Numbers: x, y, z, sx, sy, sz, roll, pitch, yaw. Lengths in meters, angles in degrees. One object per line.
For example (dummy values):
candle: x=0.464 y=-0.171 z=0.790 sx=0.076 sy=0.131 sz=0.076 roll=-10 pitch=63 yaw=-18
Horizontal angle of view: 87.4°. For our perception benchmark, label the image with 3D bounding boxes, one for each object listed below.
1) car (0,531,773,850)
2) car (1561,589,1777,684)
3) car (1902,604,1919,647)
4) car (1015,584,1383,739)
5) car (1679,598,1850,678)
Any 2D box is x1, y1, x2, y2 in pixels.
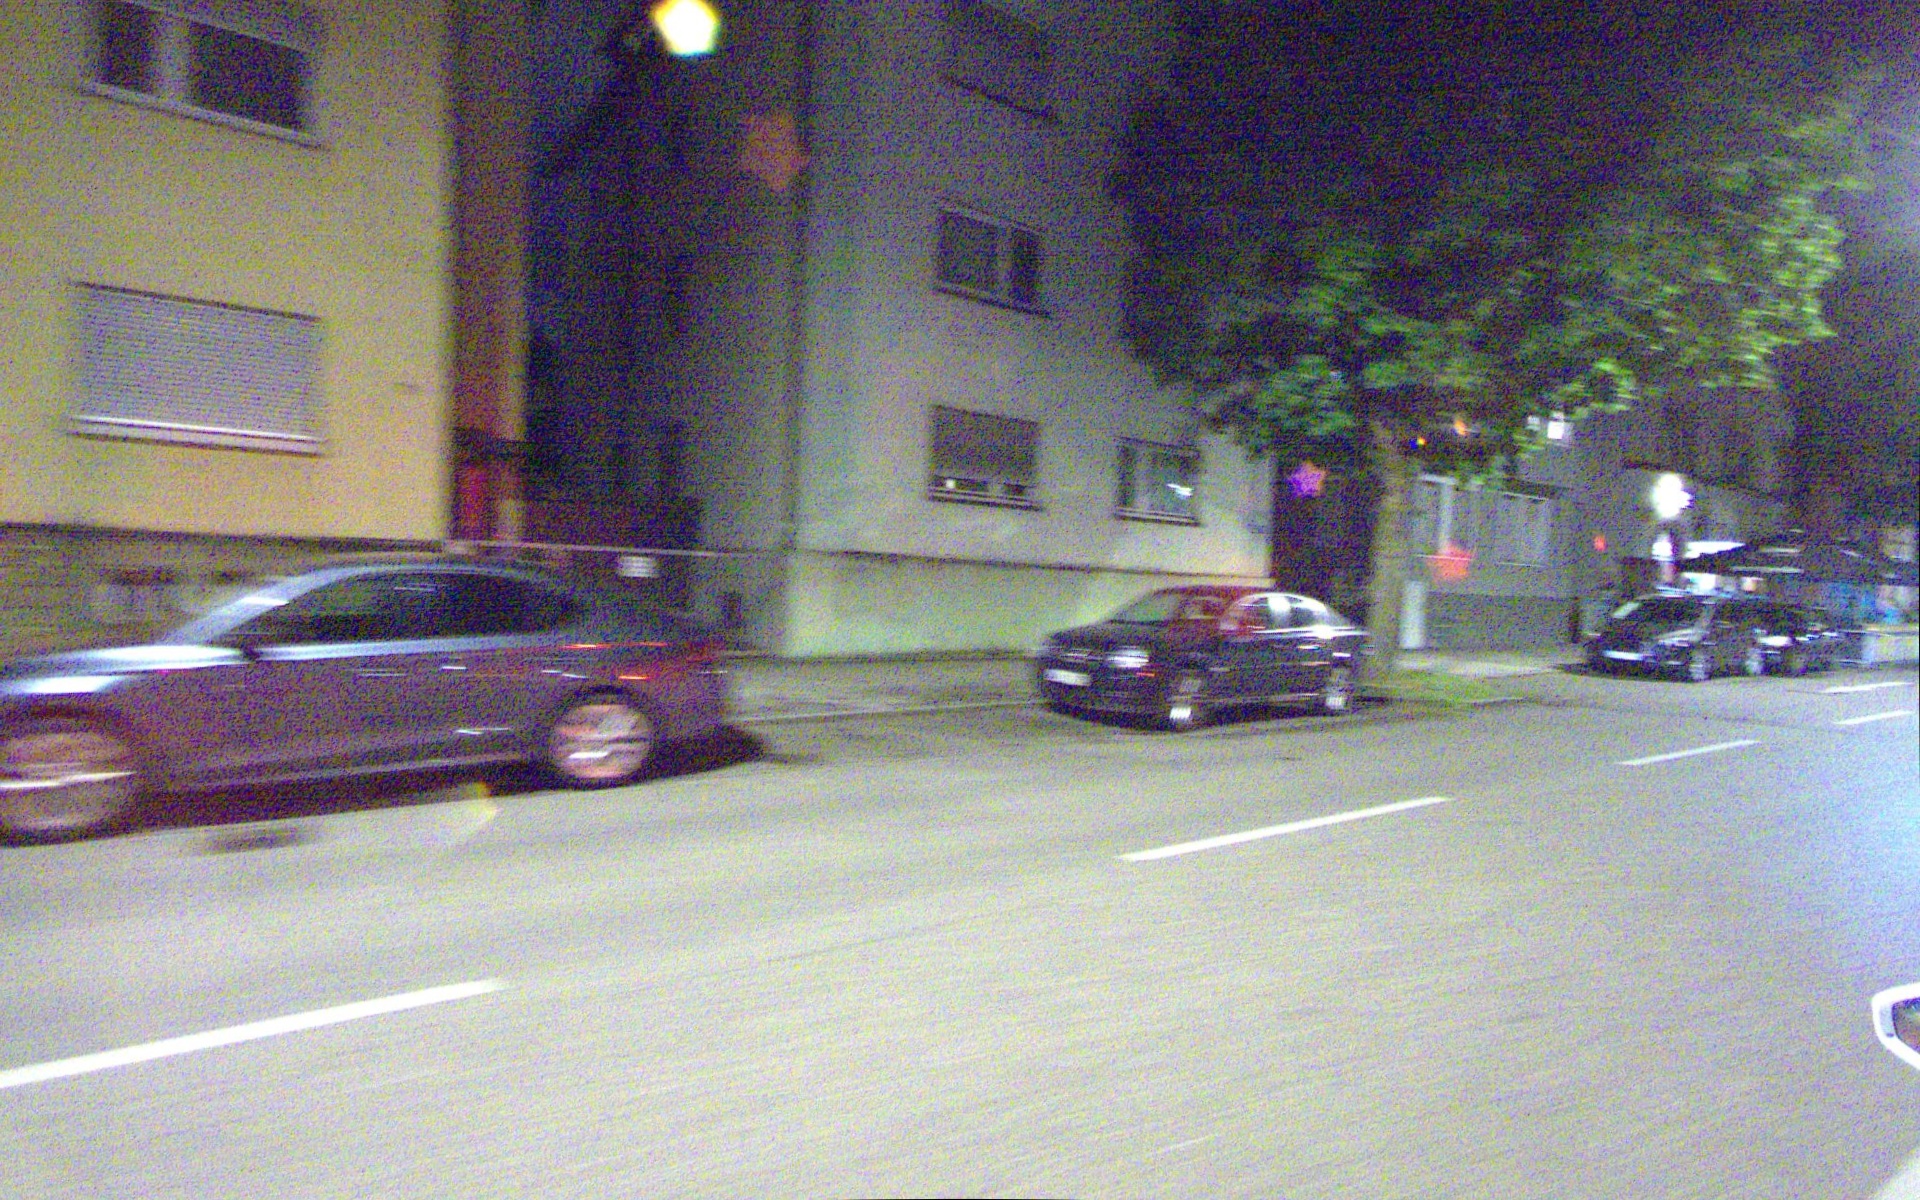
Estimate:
car: x=-3.776 y=0.431 z=6.351 sx=4.817 sy=1.505 sz=1.755 roll=1 pitch=1 yaw=-36
car: x=13.387 y=0.654 z=18.896 sx=4.407 sy=1.491 sz=1.886 roll=1 pitch=3 yaw=-35
car: x=33.995 y=0.898 z=34.476 sx=3.960 sy=1.450 sz=1.640 roll=1 pitch=1 yaw=-35
car: x=2.813 y=0.594 z=11.278 sx=4.412 sy=1.401 sz=1.610 roll=1 pitch=1 yaw=-38
car: x=17.443 y=0.783 z=21.721 sx=4.281 sy=1.501 sz=1.791 roll=1 pitch=1 yaw=-36
